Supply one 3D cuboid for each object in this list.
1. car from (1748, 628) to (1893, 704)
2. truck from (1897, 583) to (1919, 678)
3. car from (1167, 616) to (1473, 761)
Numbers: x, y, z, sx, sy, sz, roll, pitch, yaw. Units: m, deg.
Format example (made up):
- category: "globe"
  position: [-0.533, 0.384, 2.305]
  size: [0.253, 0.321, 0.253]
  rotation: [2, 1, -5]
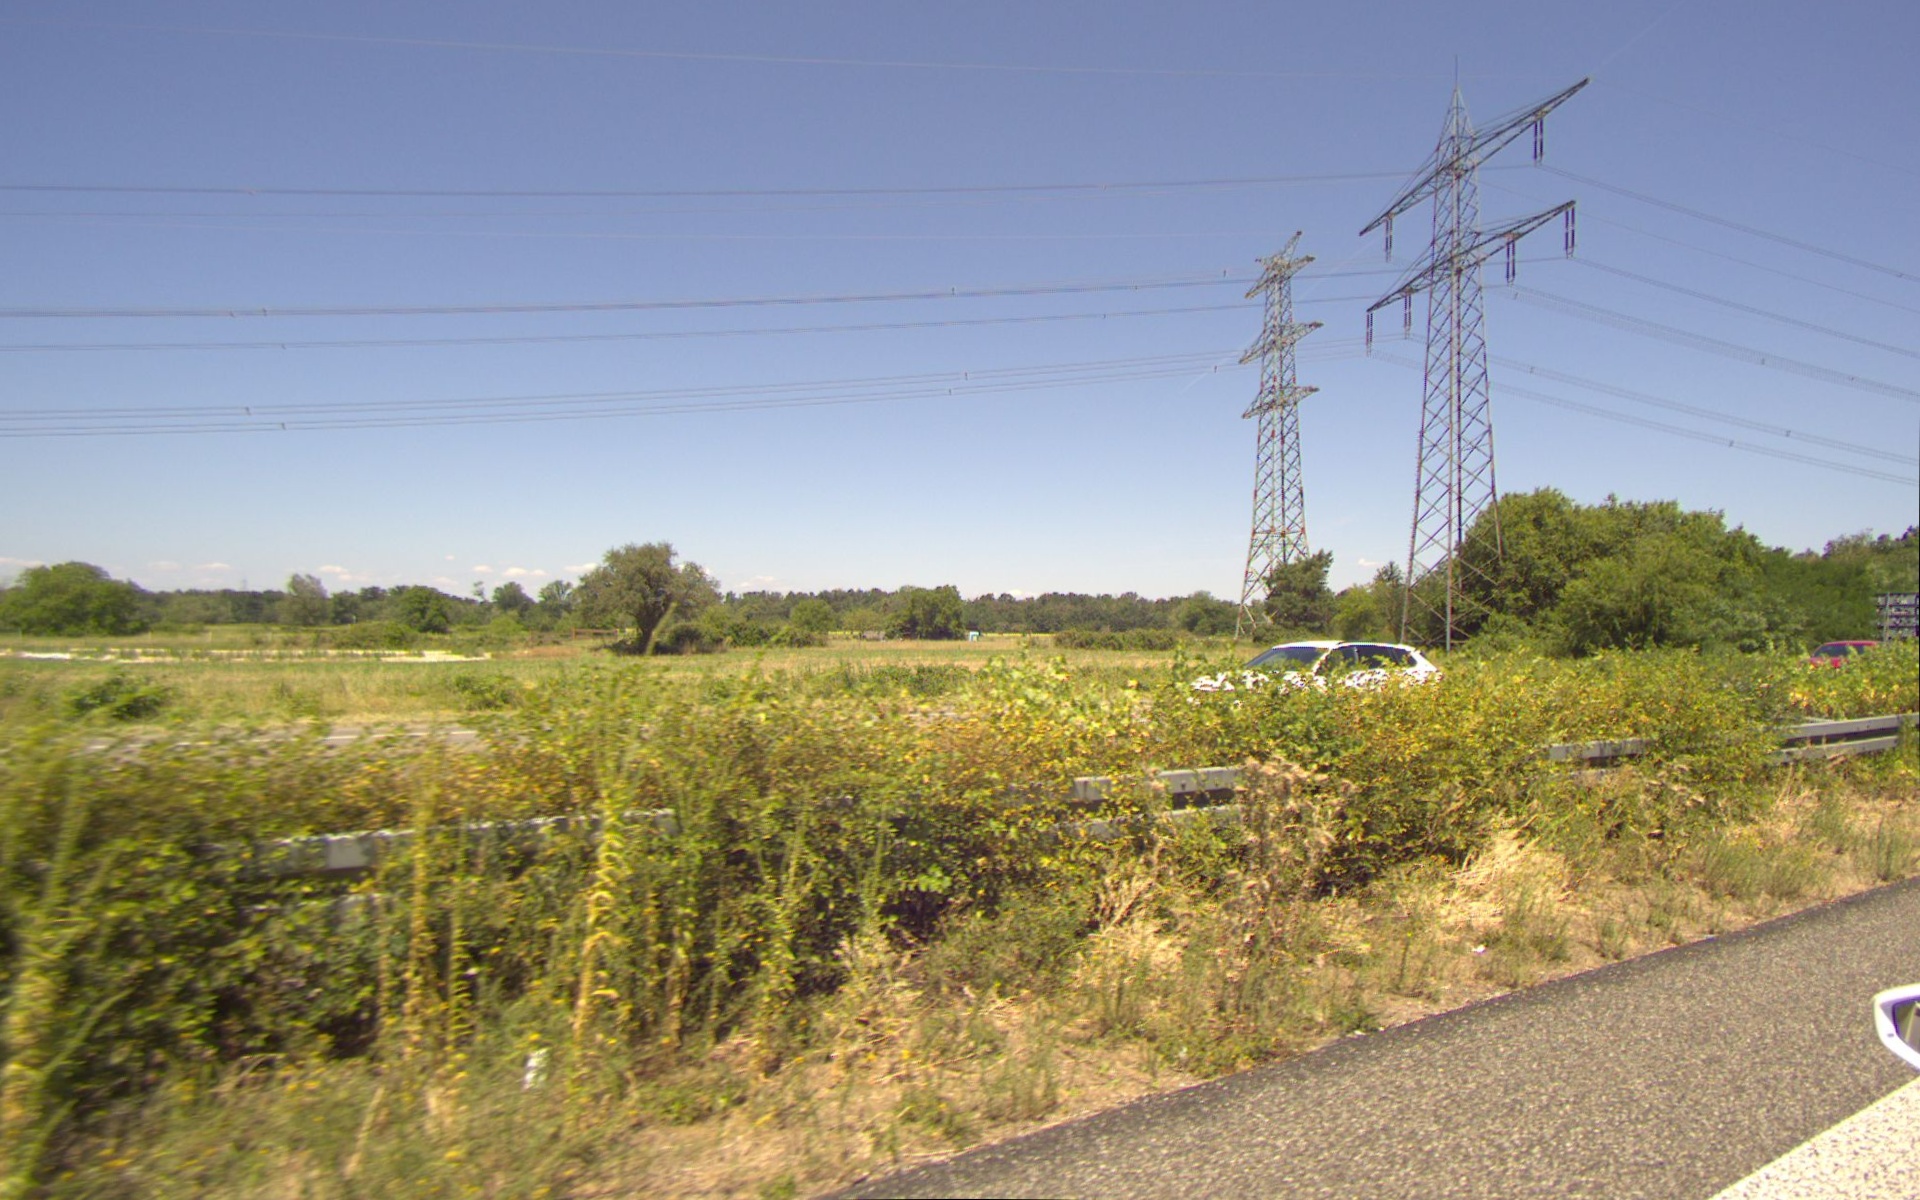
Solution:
- category: "car"
  position: [25.693, 1.935, 29.958]
  size: [4.244, 2.040, 1.984]
  rotation: [2, 0, -30]
- category: "truck"
  position: [48.403, 1.450, 48.207]
  size: [6.721, 4.464, 3.074]
  rotation: [1, -4, -30]
- category: "car"
  position: [5.673, 1.292, 15.703]
  size: [4.670, 1.969, 1.984]
  rotation: [1, -2, -30]
